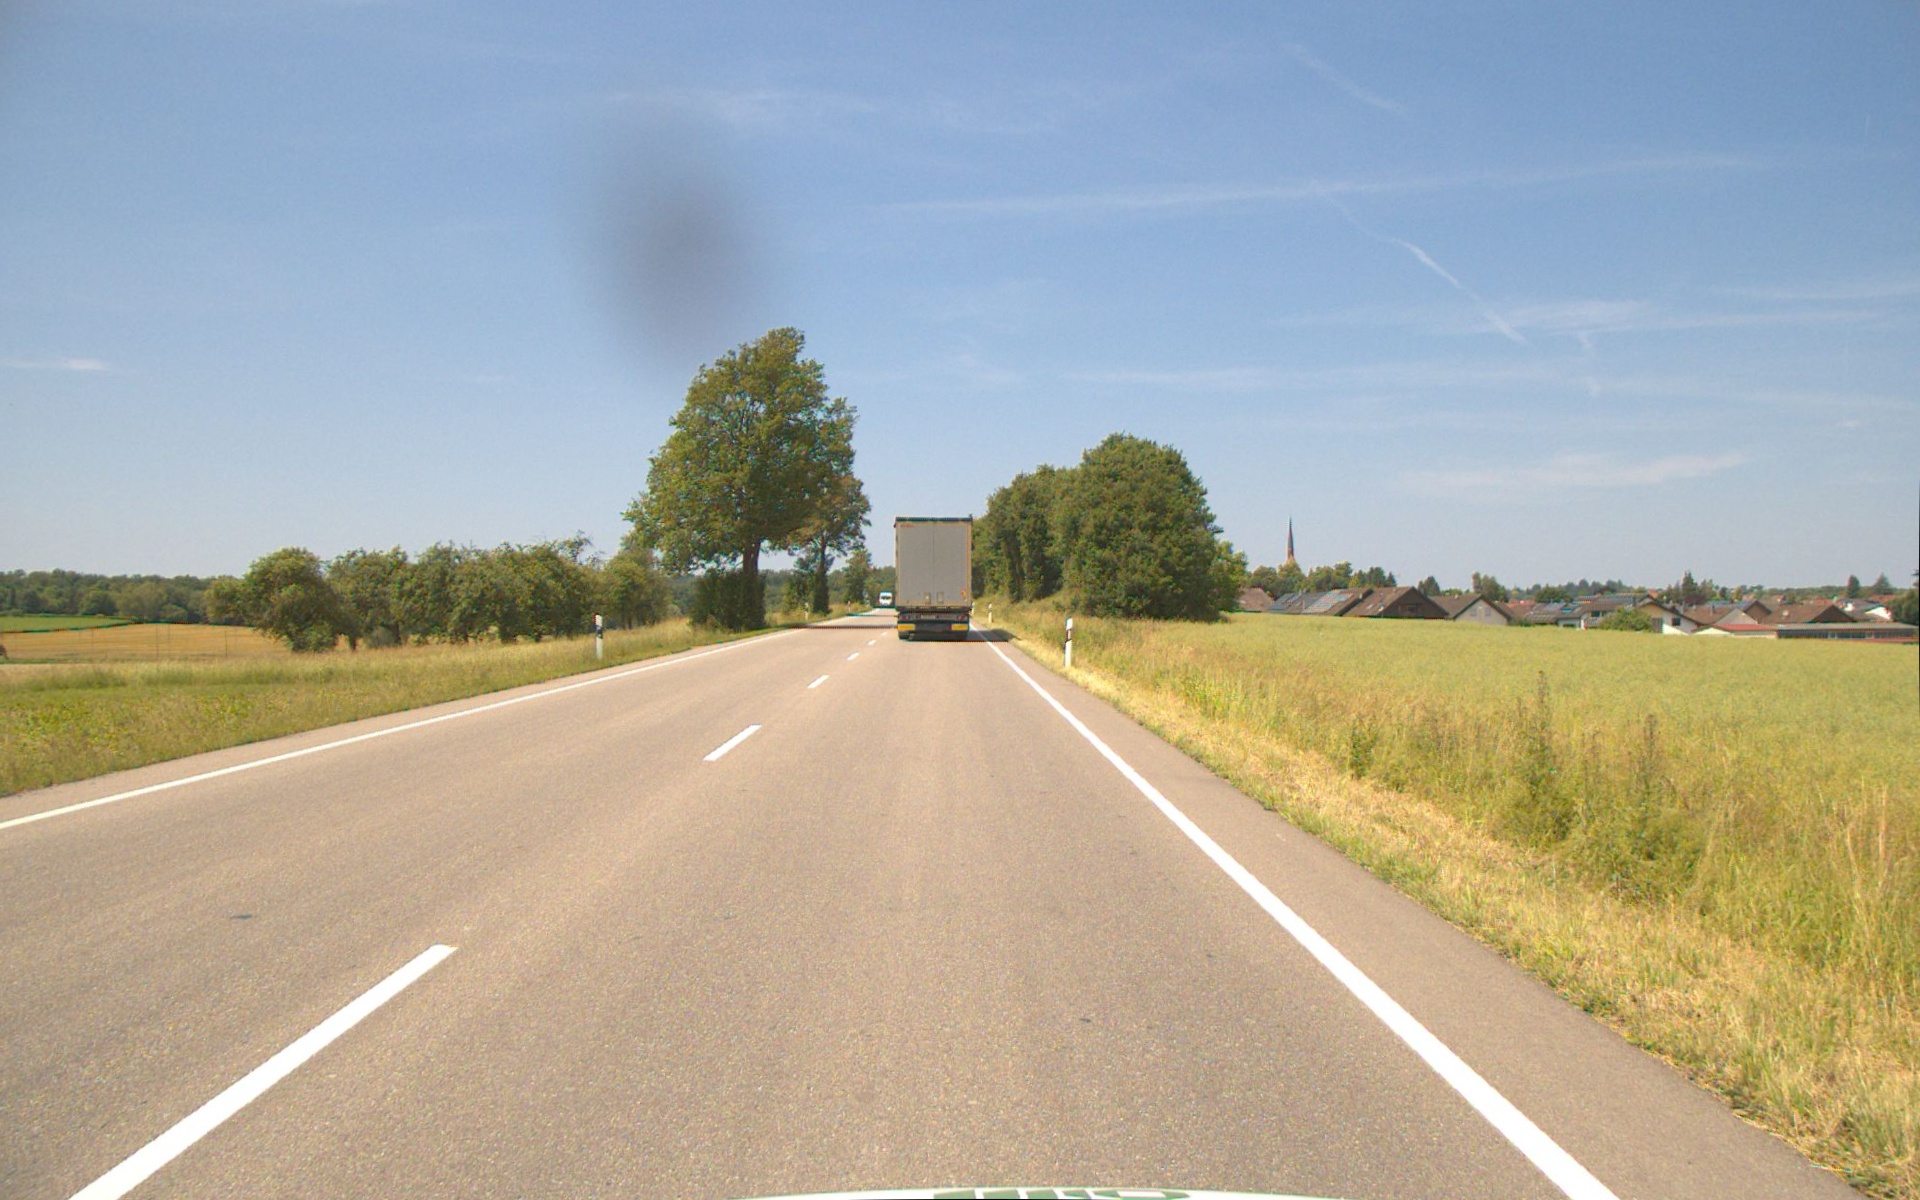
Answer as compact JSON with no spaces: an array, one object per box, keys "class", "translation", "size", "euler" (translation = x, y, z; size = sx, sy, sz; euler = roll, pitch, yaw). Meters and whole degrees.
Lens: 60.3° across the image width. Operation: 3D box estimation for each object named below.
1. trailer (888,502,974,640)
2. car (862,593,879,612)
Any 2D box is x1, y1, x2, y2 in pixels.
[{"class":"trailer","translation":[-1.099,-0.947,60.297],"size":[2.809,4.478,13.489],"euler":[0,0,-1]},{"class":"car","translation":[-10.163,0.293,187.610],"size":[1.836,2.049,4.072],"euler":[1,0,-3]}]
